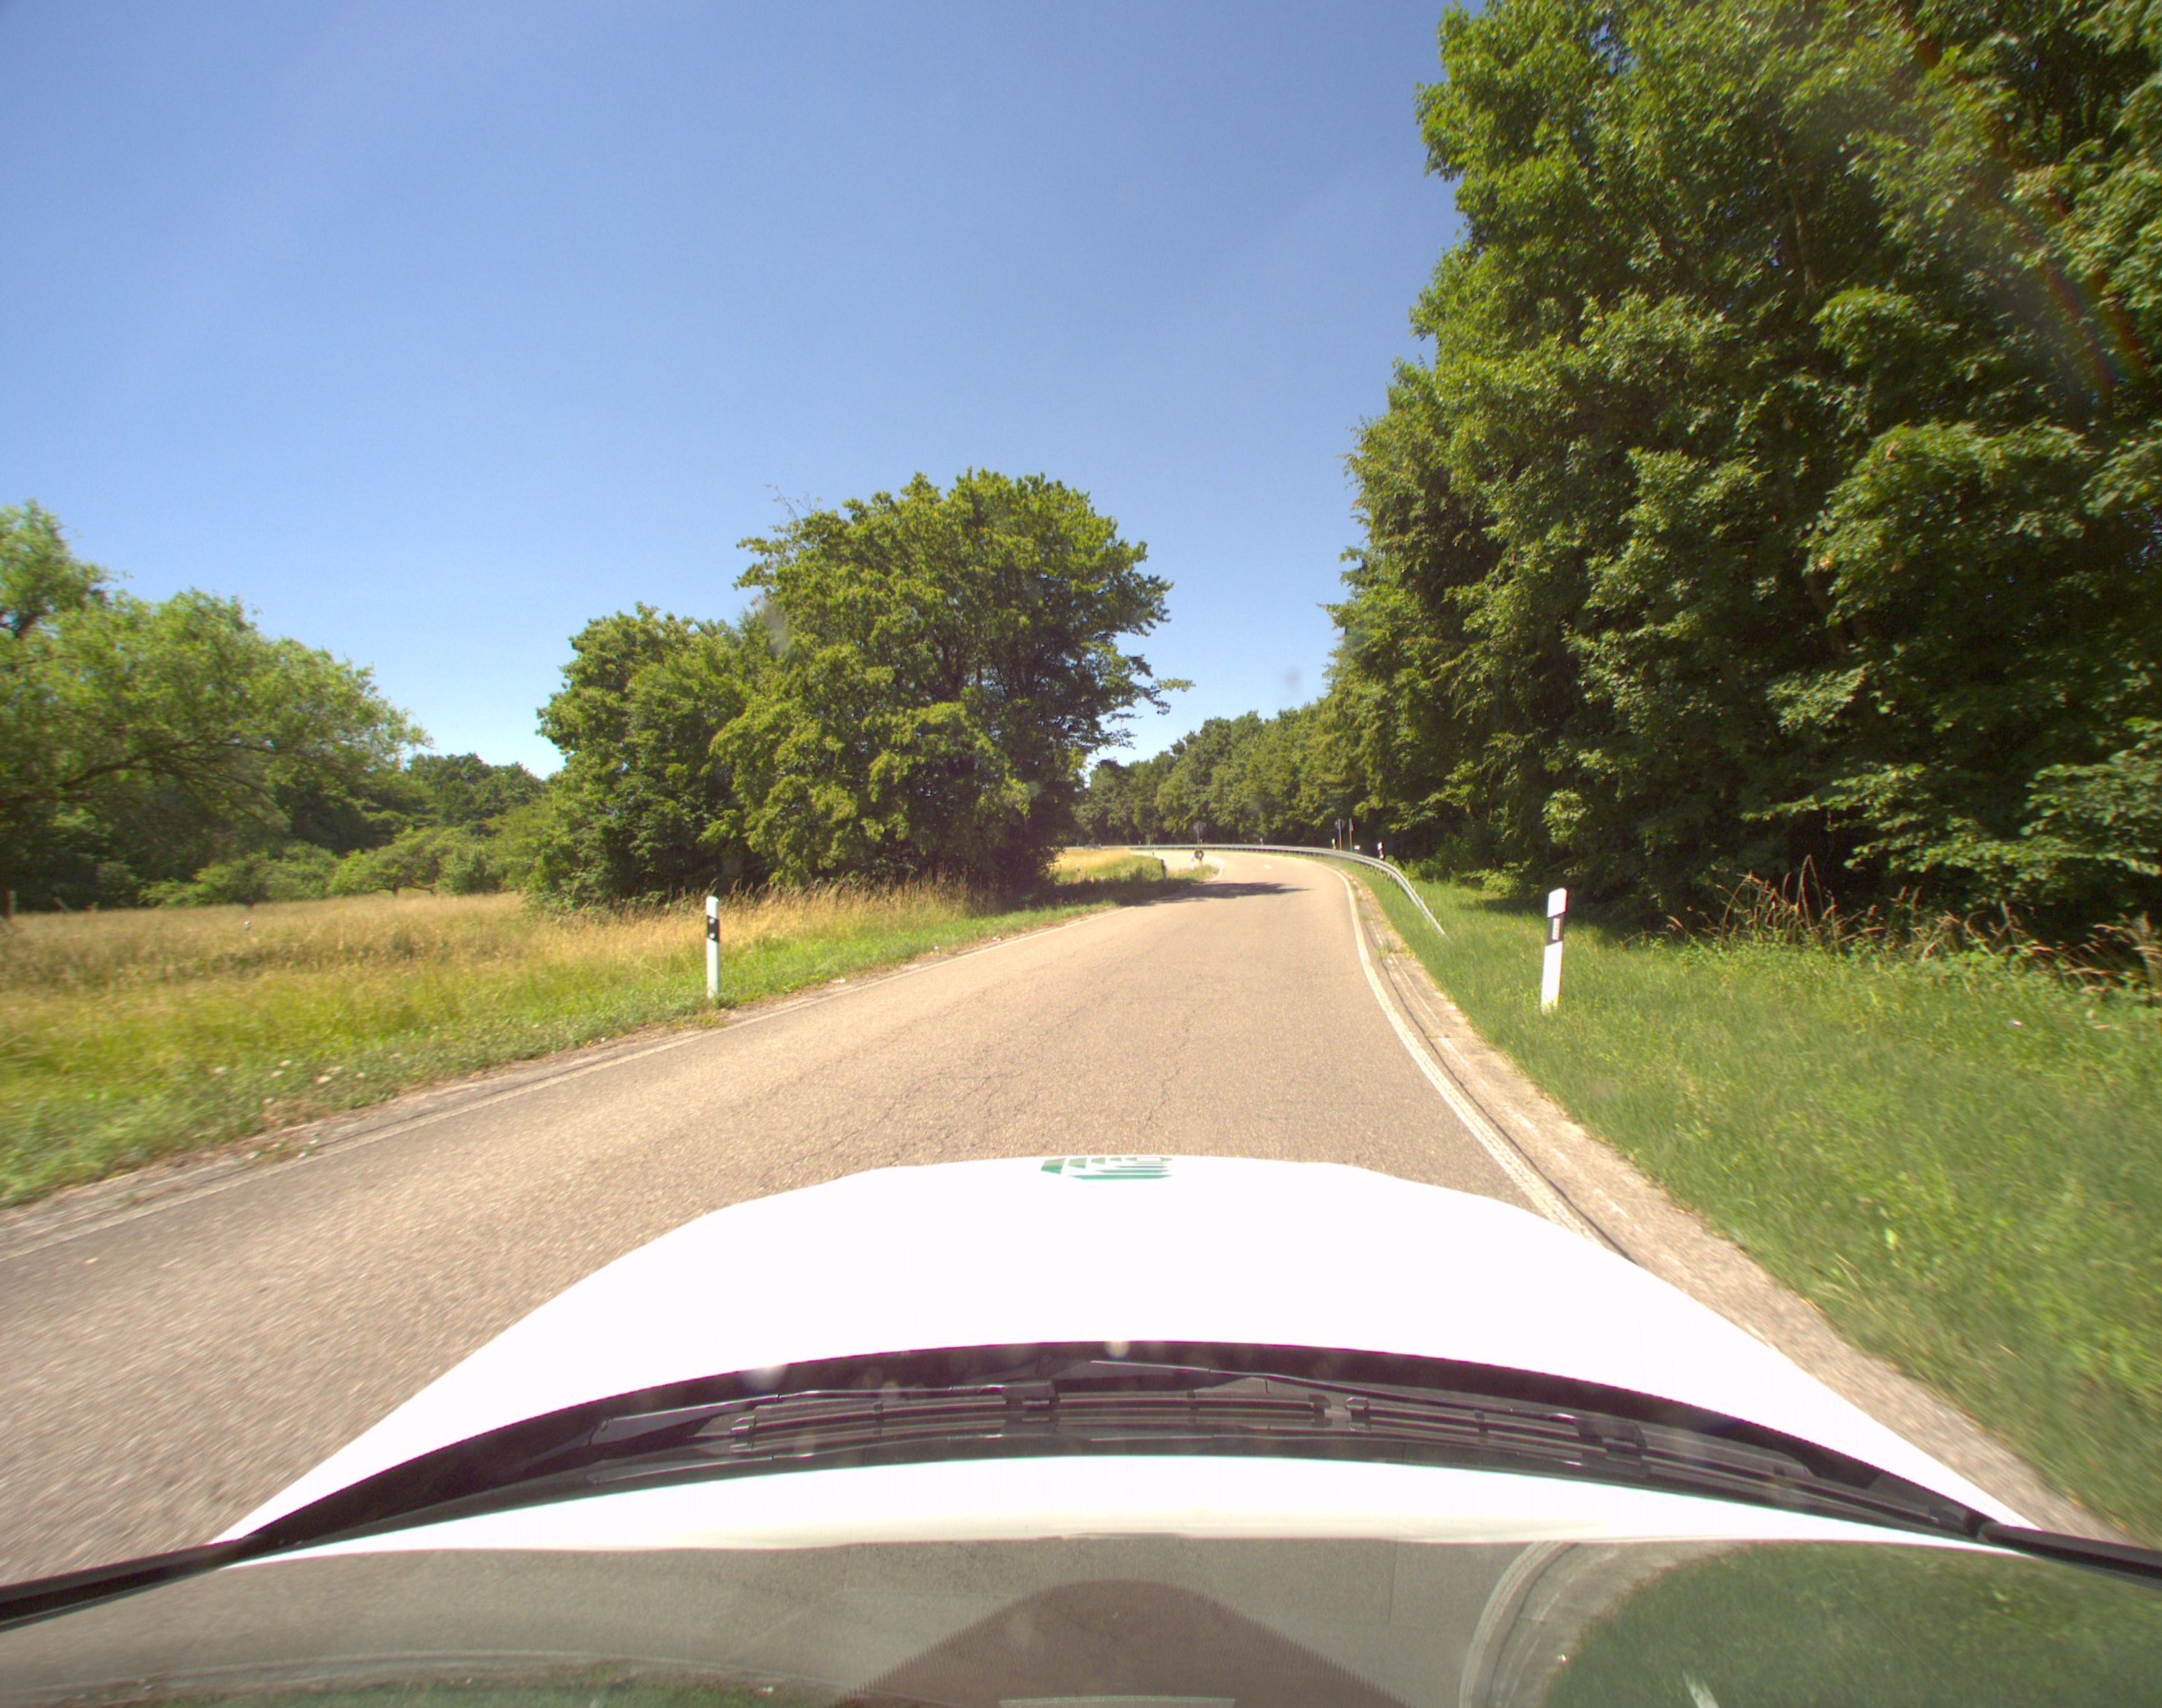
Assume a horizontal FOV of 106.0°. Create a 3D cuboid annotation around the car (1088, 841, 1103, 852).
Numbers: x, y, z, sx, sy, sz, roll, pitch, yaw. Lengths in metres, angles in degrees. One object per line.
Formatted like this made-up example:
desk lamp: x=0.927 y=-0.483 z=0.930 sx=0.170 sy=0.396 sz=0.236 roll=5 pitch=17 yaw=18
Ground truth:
car: x=2.213 y=-1.128 z=124.633 sx=1.799 sy=1.506 sz=4.651 roll=-5 pitch=0 yaw=-4
